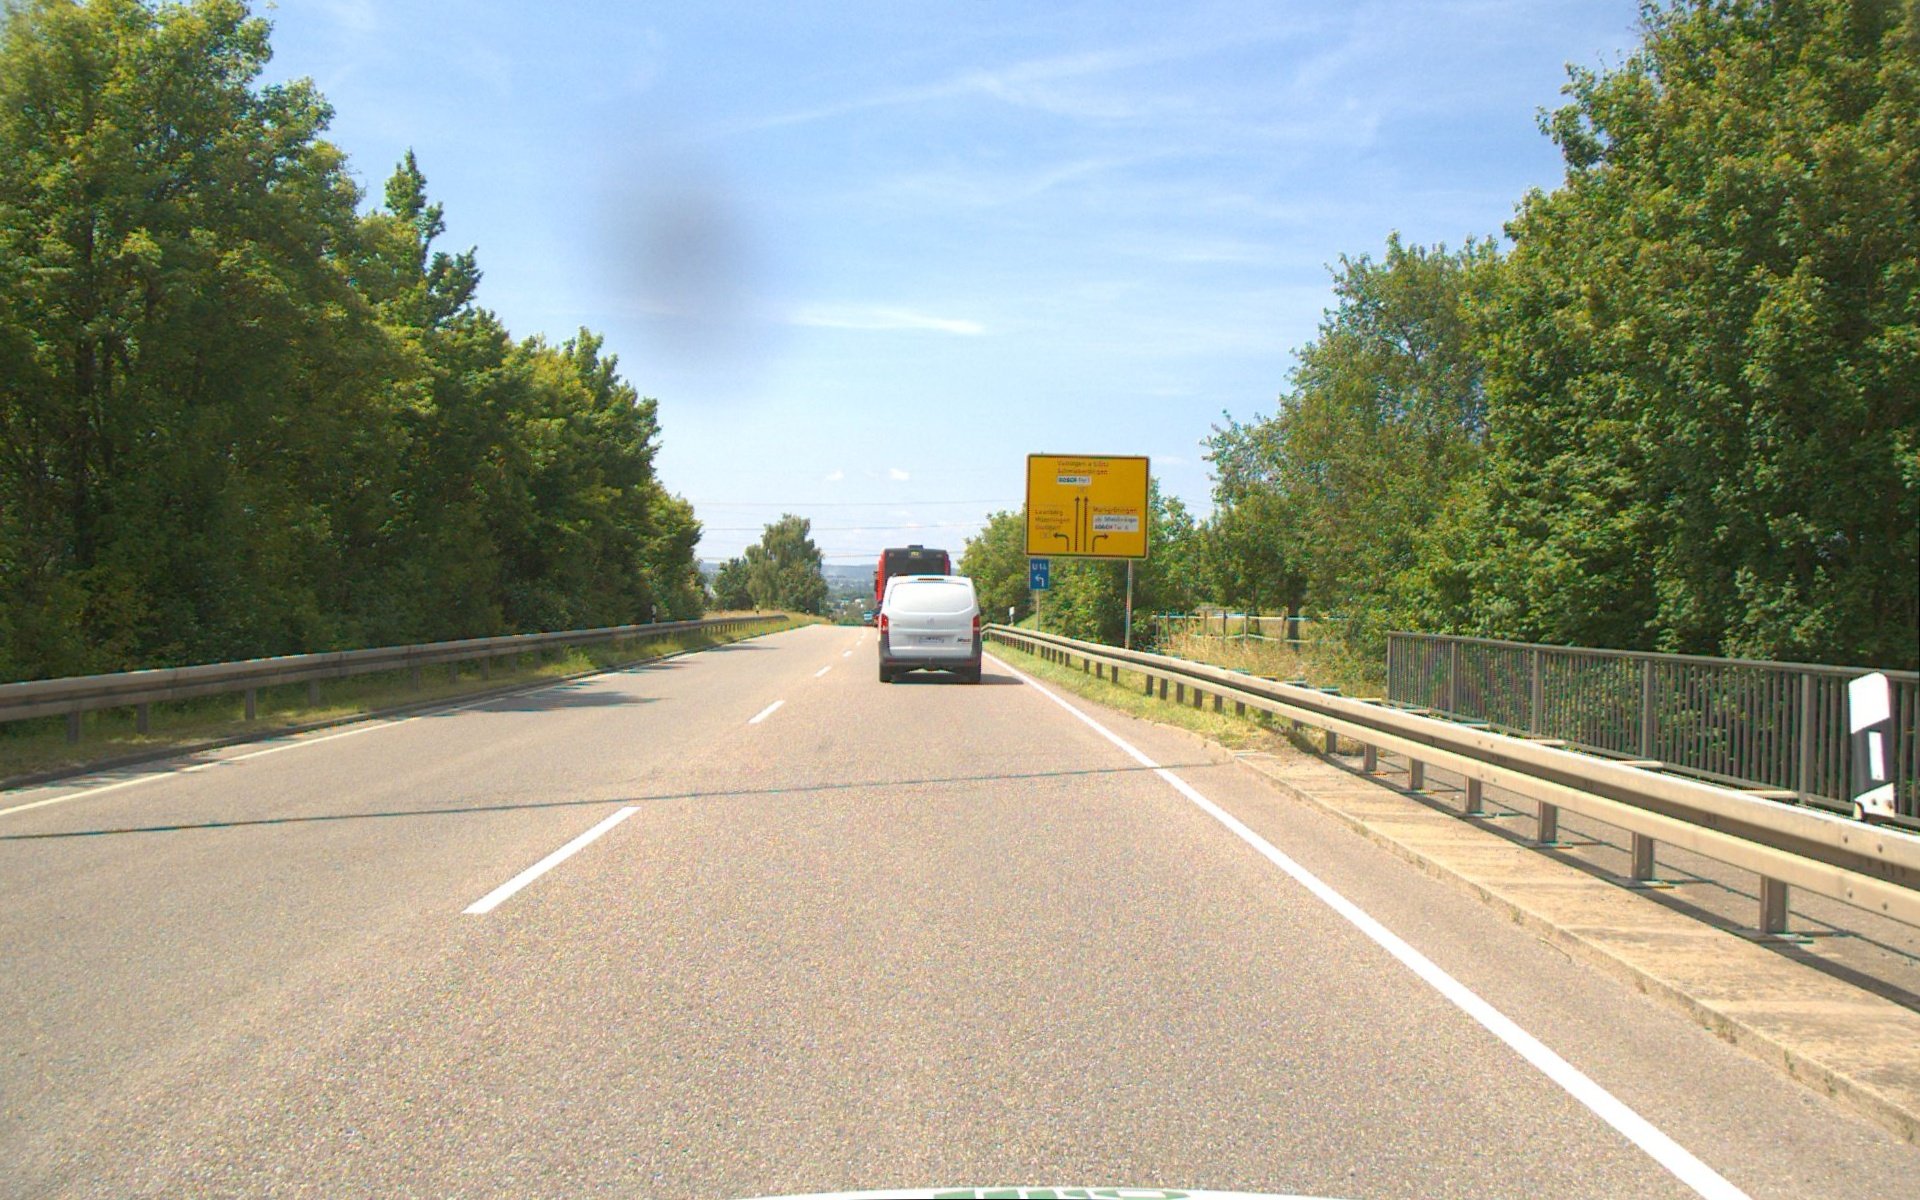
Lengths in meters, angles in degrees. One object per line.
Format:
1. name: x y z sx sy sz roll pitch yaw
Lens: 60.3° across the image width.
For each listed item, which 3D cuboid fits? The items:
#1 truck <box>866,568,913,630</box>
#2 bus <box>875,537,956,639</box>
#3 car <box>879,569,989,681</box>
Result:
1. truck: -5.546 -0.157 127.281 3.419 4.500 14.893 0 1 -3
2. bus: -1.835 -0.469 62.095 2.692 3.412 13.214 0 1 -3
3. car: -0.500 0.413 30.816 1.884 1.922 3.999 1 1 -2
